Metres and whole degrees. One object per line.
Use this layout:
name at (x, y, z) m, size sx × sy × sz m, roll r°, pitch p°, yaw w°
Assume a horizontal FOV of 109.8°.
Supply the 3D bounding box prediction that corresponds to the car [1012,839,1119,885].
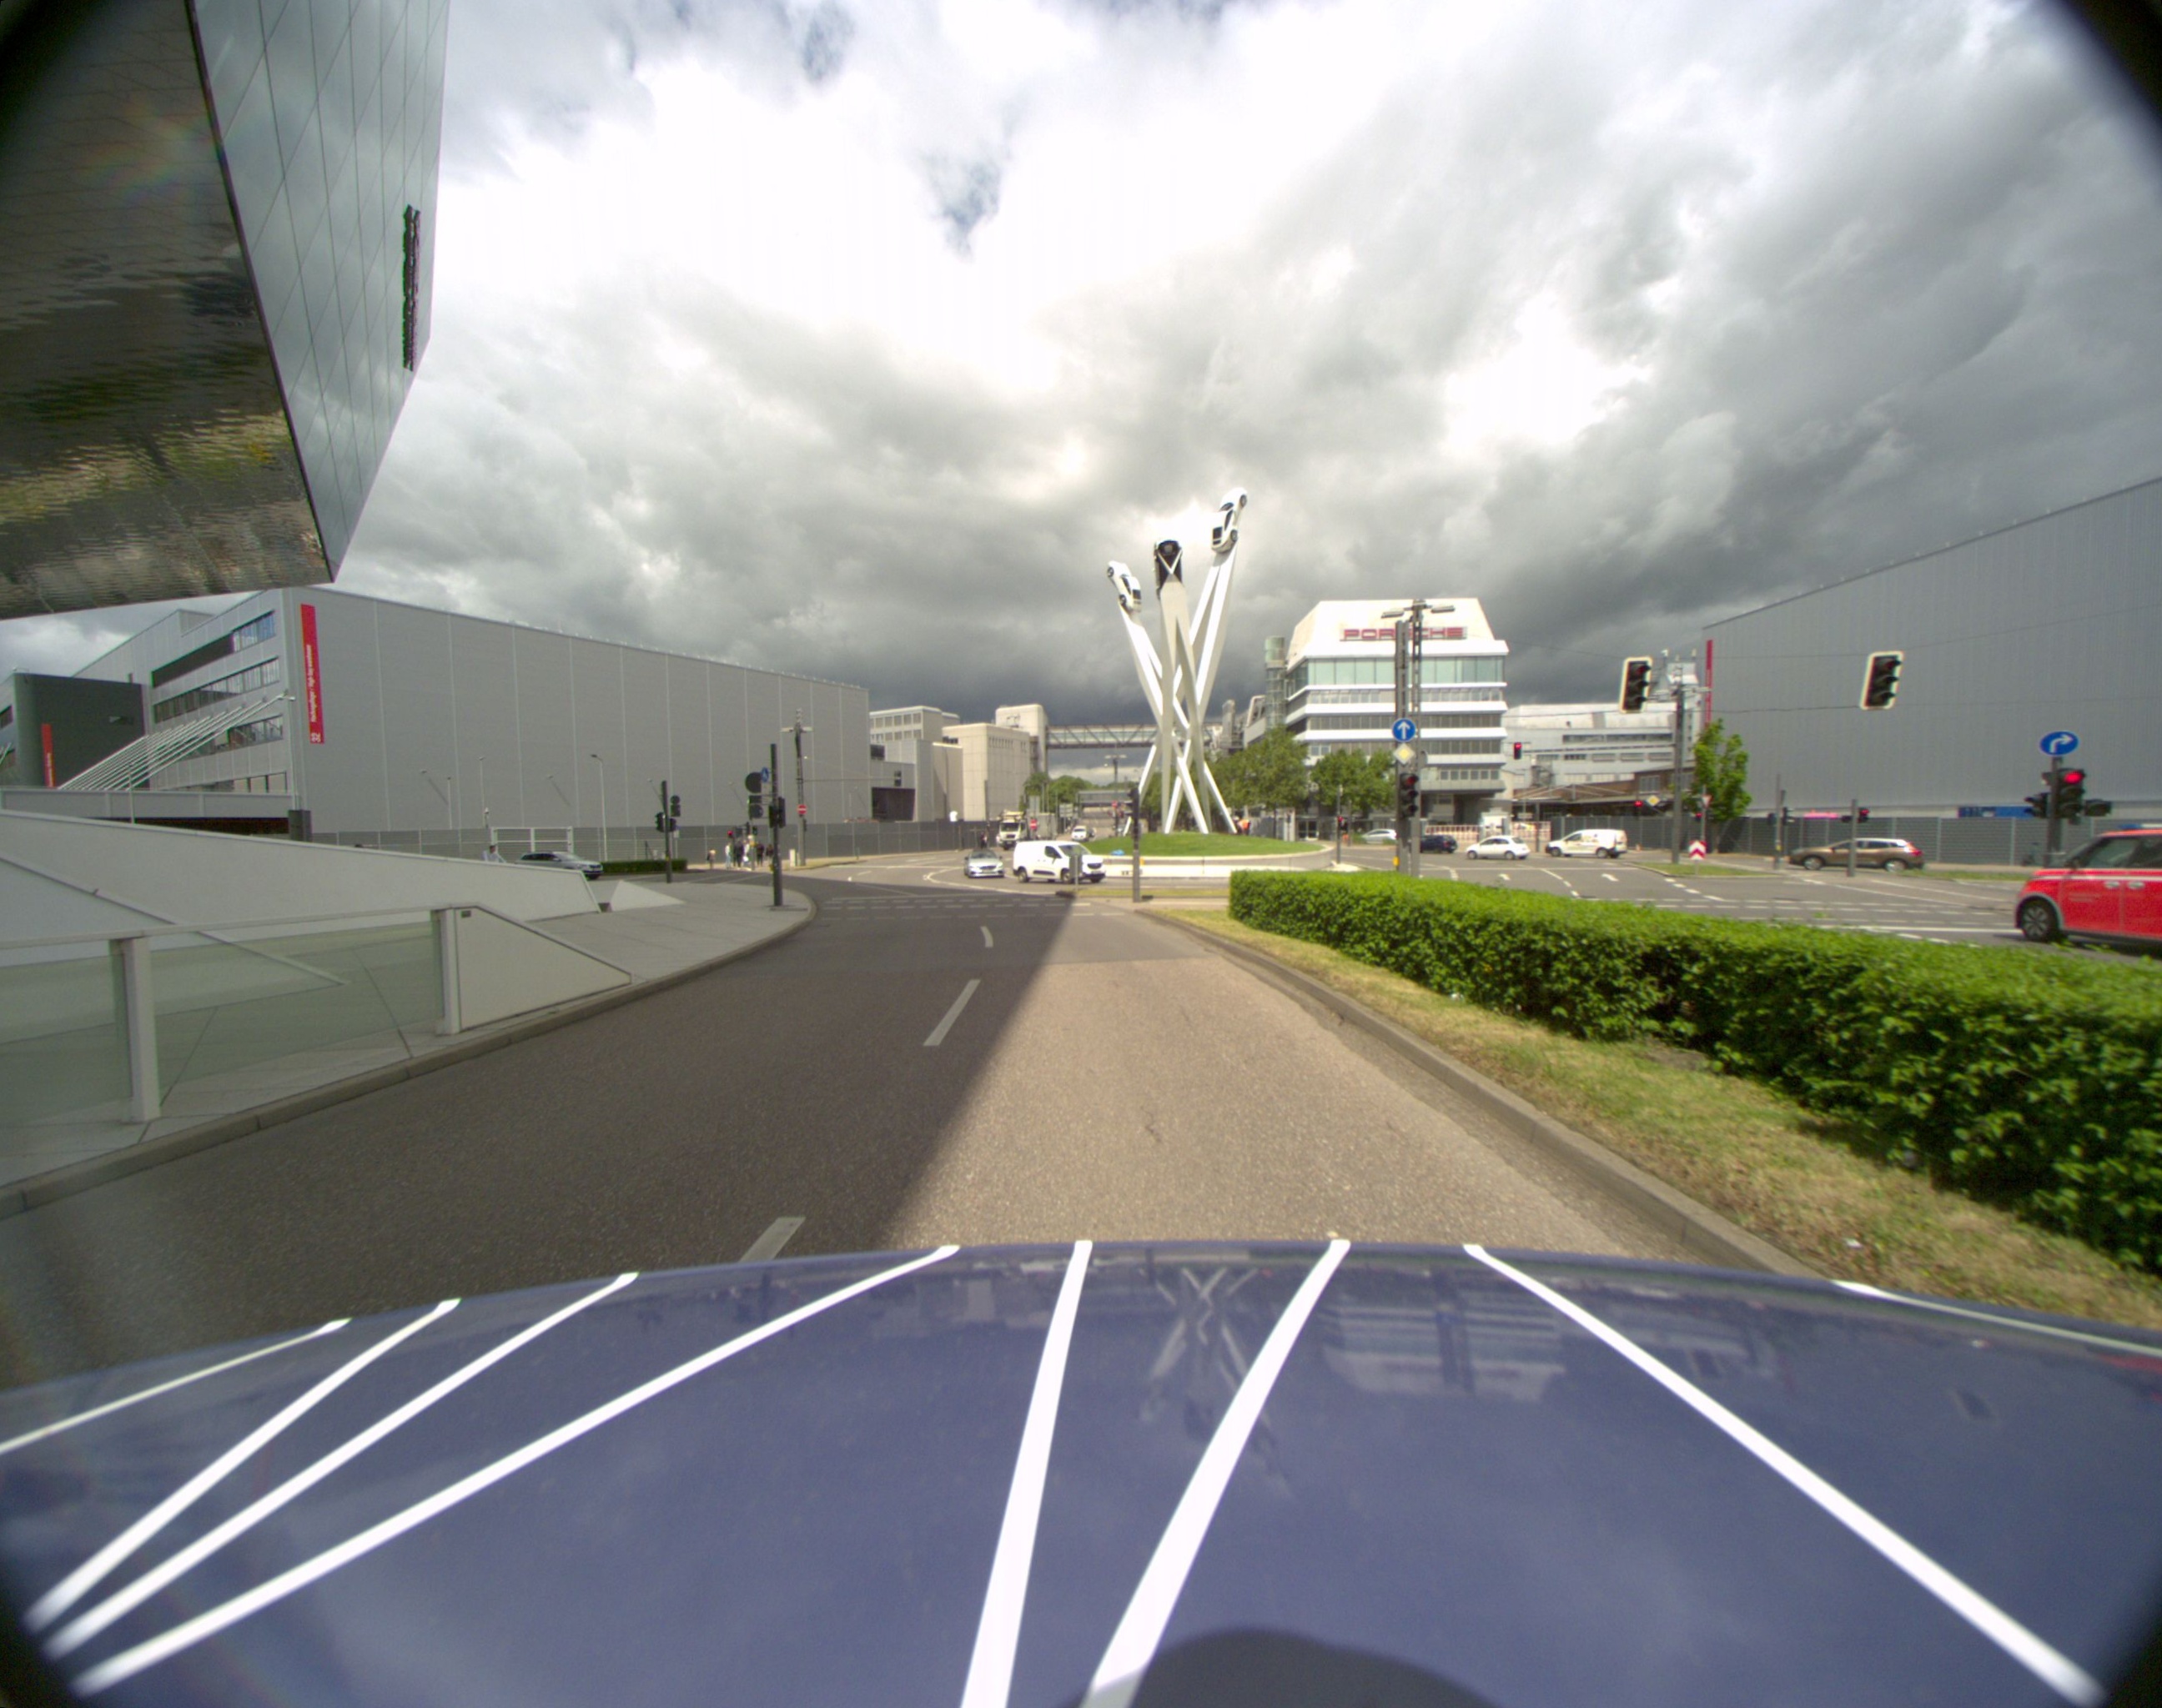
car at (-0.764, 0.266, 32.900) m, size 2.004 × 1.813 × 4.853 m, roll -2°, pitch 2°, yaw -40°

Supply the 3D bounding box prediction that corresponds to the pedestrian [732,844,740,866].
pedestrian at (-23.505, 0.058, 51.783) m, size 0.383 × 1.449 × 0.389 m, roll -2°, pitch 2°, yaw -35°

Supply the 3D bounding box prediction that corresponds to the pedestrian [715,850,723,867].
pedestrian at (-24.504, 0.319, 51.388) m, size 0.383 × 1.137 × 0.389 m, roll -2°, pitch 2°, yaw -35°

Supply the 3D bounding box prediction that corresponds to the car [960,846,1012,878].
car at (-5.090, 0.377, 40.315) m, size 2.051 × 1.478 × 4.777 m, roll -1°, pitch 2°, yaw -15°

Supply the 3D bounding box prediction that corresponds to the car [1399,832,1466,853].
car at (26.788, -0.897, 57.984) m, size 1.941 × 1.503 × 4.233 m, roll -2°, pitch 2°, yaw -34°

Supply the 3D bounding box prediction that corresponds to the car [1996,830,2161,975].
car at (15.955, 0.662, 10.581) m, size 1.995 × 1.947 × 4.633 m, roll 0°, pitch 2°, yaw 19°

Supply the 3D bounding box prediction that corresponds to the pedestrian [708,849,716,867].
pedestrian at (-24.897, 0.266, 51.229) m, size 0.383 × 1.137 × 0.389 m, roll -2°, pitch 2°, yaw -35°

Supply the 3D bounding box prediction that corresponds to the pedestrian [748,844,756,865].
pedestrian at (-22.651, 0.017, 52.289) m, size 0.383 × 1.398 × 0.389 m, roll -2°, pitch 2°, yaw -35°

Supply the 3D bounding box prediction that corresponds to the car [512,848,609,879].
car at (-27.469, 0.490, 40.150) m, size 3.995 × 1.521 × 1.671 m, roll -1°, pitch 2°, yaw 5°

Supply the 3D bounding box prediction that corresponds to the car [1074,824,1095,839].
car at (0.511, -2.965, 101.165) m, size 2.161 × 1.900 × 5.307 m, roll -1°, pitch 1°, yaw 8°

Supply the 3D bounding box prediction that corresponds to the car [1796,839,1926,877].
car at (36.842, 0.145, 36.024) m, size 1.958 × 1.686 × 4.184 m, roll -2°, pitch 2°, yaw -44°

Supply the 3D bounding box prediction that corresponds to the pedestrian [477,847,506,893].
pedestrian at (-22.212, 0.593, 28.626) m, size 0.560 × 1.734 × 0.600 m, roll -1°, pitch 2°, yaw 4°

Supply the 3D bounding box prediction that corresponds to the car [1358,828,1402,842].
car at (30.514, -1.935, 77.544) m, size 3.946 × 1.370 × 1.632 m, roll 0°, pitch 2°, yaw 37°

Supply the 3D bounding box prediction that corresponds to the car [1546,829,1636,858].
car at (32.889, -0.695, 49.135) m, size 2.003 × 1.819 × 4.390 m, roll -2°, pitch 2°, yaw -30°

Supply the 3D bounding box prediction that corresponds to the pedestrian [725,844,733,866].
pedestrian at (-23.918, 0.069, 51.644) m, size 0.383 × 1.464 × 0.389 m, roll -2°, pitch 2°, yaw -35°

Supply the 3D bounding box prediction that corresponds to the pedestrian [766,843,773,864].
pedestrian at (-21.798, -0.041, 53.199) m, size 0.361 × 1.472 × 0.402 m, roll -2°, pitch 2°, yaw -36°

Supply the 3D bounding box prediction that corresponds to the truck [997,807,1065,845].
truck at (-4.965, -2.832, 78.665) m, size 2.839 × 3.670 × 10.767 m, roll 0°, pitch 2°, yaw 21°

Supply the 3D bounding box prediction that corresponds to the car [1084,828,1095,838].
car at (1.386, -3.431, 124.993) m, size 1.831 × 1.555 × 3.999 m, roll -1°, pitch 1°, yaw -1°

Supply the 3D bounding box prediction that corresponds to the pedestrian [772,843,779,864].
pedestrian at (-21.517, -0.022, 53.446) m, size 0.329 × 1.472 × 0.359 m, roll -2°, pitch 3°, yaw -37°

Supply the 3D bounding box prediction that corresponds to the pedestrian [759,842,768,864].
pedestrian at (-22.115, -0.059, 52.917) m, size 0.428 × 1.545 × 0.389 m, roll -2°, pitch 2°, yaw -35°

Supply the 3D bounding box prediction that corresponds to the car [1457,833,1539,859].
car at (26.998, -0.536, 49.300) m, size 2.003 × 1.570 × 4.233 m, roll -2°, pitch 2°, yaw -33°

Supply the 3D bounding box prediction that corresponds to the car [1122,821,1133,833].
car at (7.013, -4.066, 114.803) m, size 1.586 × 1.631 × 3.803 m, roll 0°, pitch 1°, yaw 2°
